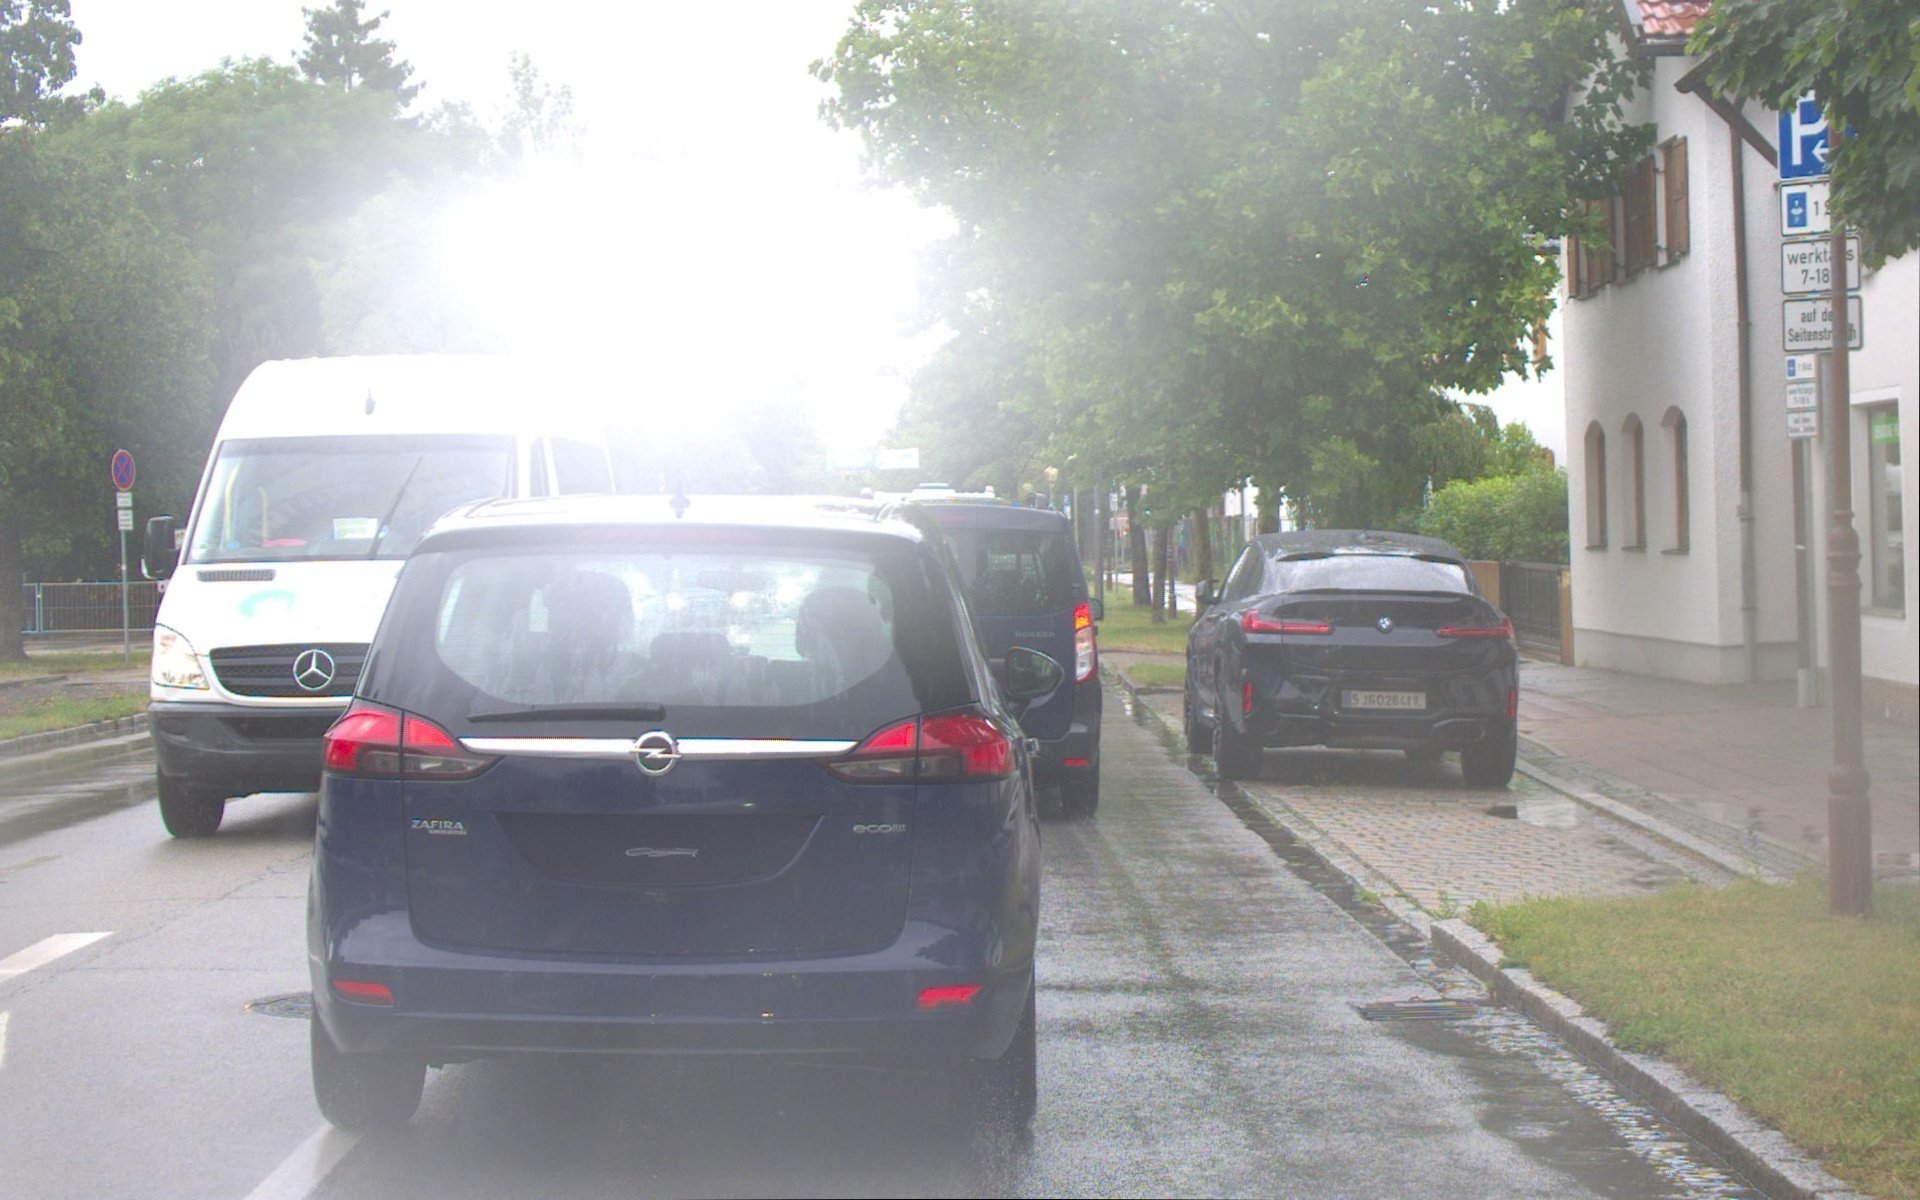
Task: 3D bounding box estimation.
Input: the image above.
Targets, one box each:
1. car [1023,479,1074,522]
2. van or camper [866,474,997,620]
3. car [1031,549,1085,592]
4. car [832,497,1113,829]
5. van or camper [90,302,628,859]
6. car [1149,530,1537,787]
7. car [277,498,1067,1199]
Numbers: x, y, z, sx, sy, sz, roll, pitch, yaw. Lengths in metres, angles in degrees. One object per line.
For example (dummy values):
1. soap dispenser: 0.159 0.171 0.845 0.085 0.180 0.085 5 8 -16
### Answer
1. car: 3.113 -3.500 121.198 1.630 1.373 3.623 -2 1 0
2. van or camper: -0.538 -1.024 66.711 2.360 2.656 5.372 -1 1 0
3. car: 3.158 -0.942 111.733 1.630 1.373 3.623 0 0 0
4. car: 0.062 0.316 19.980 1.500 1.770 3.112 0 1 0
5. van or camper: -3.261 -0.144 20.081 2.094 2.698 6.269 -1 1 -1
6. car: 2.473 0.342 23.207 2.117 1.576 3.936 0 0 -1
7. car: -0.657 0.550 9.585 1.768 1.599 3.663 1 1 0
